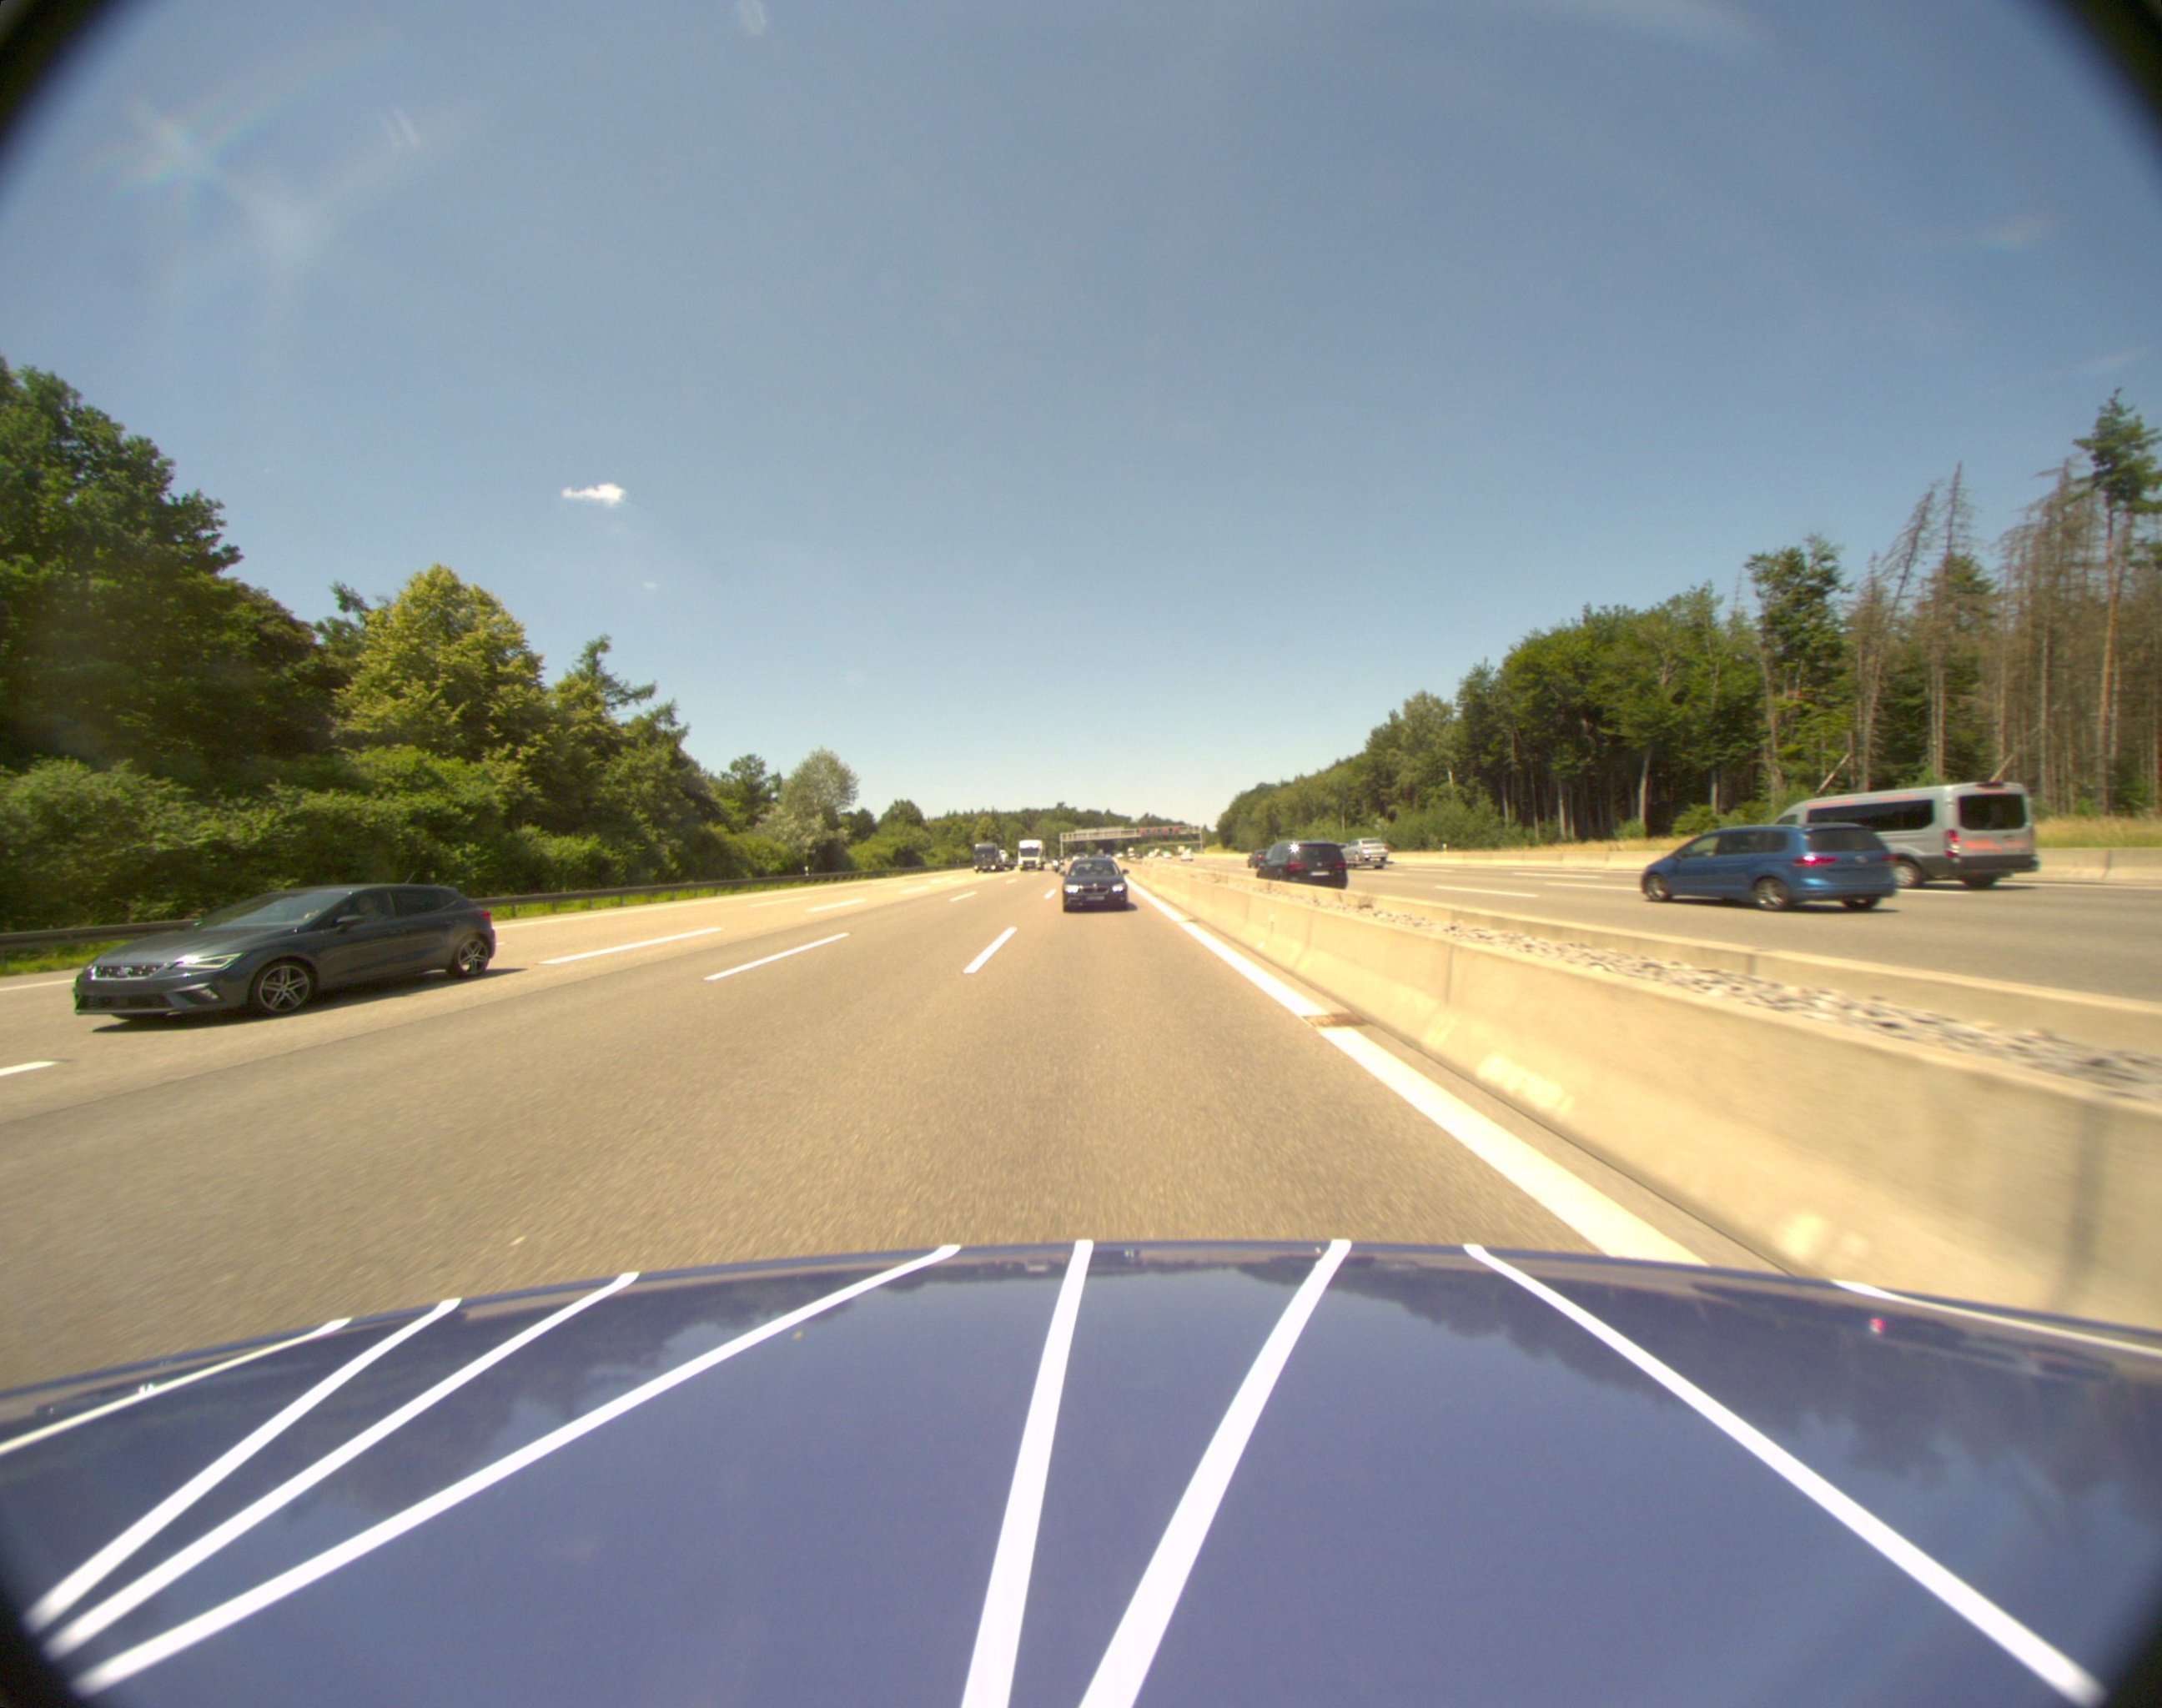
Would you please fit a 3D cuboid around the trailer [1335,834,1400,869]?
[{"bbox_3d":[18.454,-0.179,49.282,1.859,2.039,6.152,-2,0,1],"label":"trailer"}]

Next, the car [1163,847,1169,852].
[{"bbox_3d":[25.081,-1.346,224.002,1.649,1.346,2.908,-2,1,2],"label":"car"}]

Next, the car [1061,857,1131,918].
[{"bbox_3d":[0.412,0.877,21.738,1.741,1.450,4.542,-2,0,1],"label":"car"}]

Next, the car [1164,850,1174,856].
[{"bbox_3d":[21.207,-0.193,182.811,1.998,1.392,3.867,-2,1,3],"label":"car"}]

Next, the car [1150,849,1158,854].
[{"bbox_3d":[20.777,-0.741,216.339,1.764,1.346,4.000,-2,1,3],"label":"car"}]

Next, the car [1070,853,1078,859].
[{"bbox_3d":[-1.816,0.438,185.901,1.649,1.346,4.001,-2,0,3],"label":"car"}]

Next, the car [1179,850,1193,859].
[{"bbox_3d":[17.105,0.107,123.732,1.734,1.455,4.783,-2,0,1],"label":"car"}]

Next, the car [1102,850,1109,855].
[{"bbox_3d":[7.196,-0.366,222.053,1.910,1.450,4.127,-2,1,3],"label":"car"}]

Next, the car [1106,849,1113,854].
[{"bbox_3d":[9.006,-0.788,242.085,1.910,1.450,4.128,-2,1,4],"label":"car"}]

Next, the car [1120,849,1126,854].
[{"bbox_3d":[13.914,-0.927,250.215,1.910,1.450,4.127,-2,1,3],"label":"car"}]

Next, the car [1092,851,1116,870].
[{"bbox_3d":[1.855,0.514,63.130,1.834,1.454,4.203,-2,1,0],"label":"car"}]

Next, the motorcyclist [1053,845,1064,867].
[{"bbox_3d":[-2.058,0.205,69.800,0.914,1.926,0.905,-3,1,0],"label":"motorcyclist"}]

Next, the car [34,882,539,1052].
[{"bbox_3d":[-9.745,1.238,10.056,1.647,1.430,4.635,-3,1,2],"label":"car"}]

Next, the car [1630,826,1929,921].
[{"bbox_3d":[13.599,0.319,15.292,1.734,1.561,4.672,-2,0,1],"label":"car"}]

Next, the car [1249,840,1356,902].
[{"bbox_3d":[6.678,0.459,23.512,1.854,1.668,5.044,-2,0,1],"label":"car"}]

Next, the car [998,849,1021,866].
[{"bbox_3d":[-8.610,0.447,92.063,1.998,1.885,4.870,-2,1,2],"label":"car"}]

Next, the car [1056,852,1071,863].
[{"bbox_3d":[-2.692,0.541,118.475,1.998,1.671,4.127,-2,1,2],"label":"car"}]

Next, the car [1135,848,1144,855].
[{"bbox_3d":[15.217,-0.603,196.873,1.998,1.636,4.000,-2,1,2],"label":"car"}]

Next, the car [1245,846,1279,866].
[{"bbox_3d":[14.602,0.128,61.483,1.734,1.455,4.576,-2,0,1],"label":"car"}]

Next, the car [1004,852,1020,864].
[{"bbox_3d":[-10.867,0.584,119.346,1.998,1.671,4.127,-2,1,2],"label":"car"}]

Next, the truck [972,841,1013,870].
[{"bbox_3d":[-9.337,0.085,81.607,2.660,2.839,10.885,-2,1,2],"label":"truck"}]

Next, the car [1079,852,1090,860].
[{"bbox_3d":[0.747,0.410,158.352,1.998,1.671,4.127,-2,1,2],"label":"car"}]

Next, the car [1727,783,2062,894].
[{"bbox_3d":[20.762,-0.364,20.033,1.953,2.398,6.344,-2,0,-1],"label":"car"}]

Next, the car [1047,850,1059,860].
[{"bbox_3d":[-5.350,0.175,147.546,1.998,1.671,4.127,-2,1,2],"label":"car"}]

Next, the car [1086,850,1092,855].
[{"bbox_3d":[2.603,-0.431,244.242,1.820,1.546,4.127,-2,1,2],"label":"car"}]

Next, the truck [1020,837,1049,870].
[{"bbox_3d":[-4.992,-0.086,83.162,2.428,3.237,8.688,-2,1,0],"label":"truck"}]

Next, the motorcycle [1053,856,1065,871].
[{"bbox_3d":[-2.038,0.849,70.102,0.925,1.311,2.997,-3,0,0],"label":"motorcycle"}]
